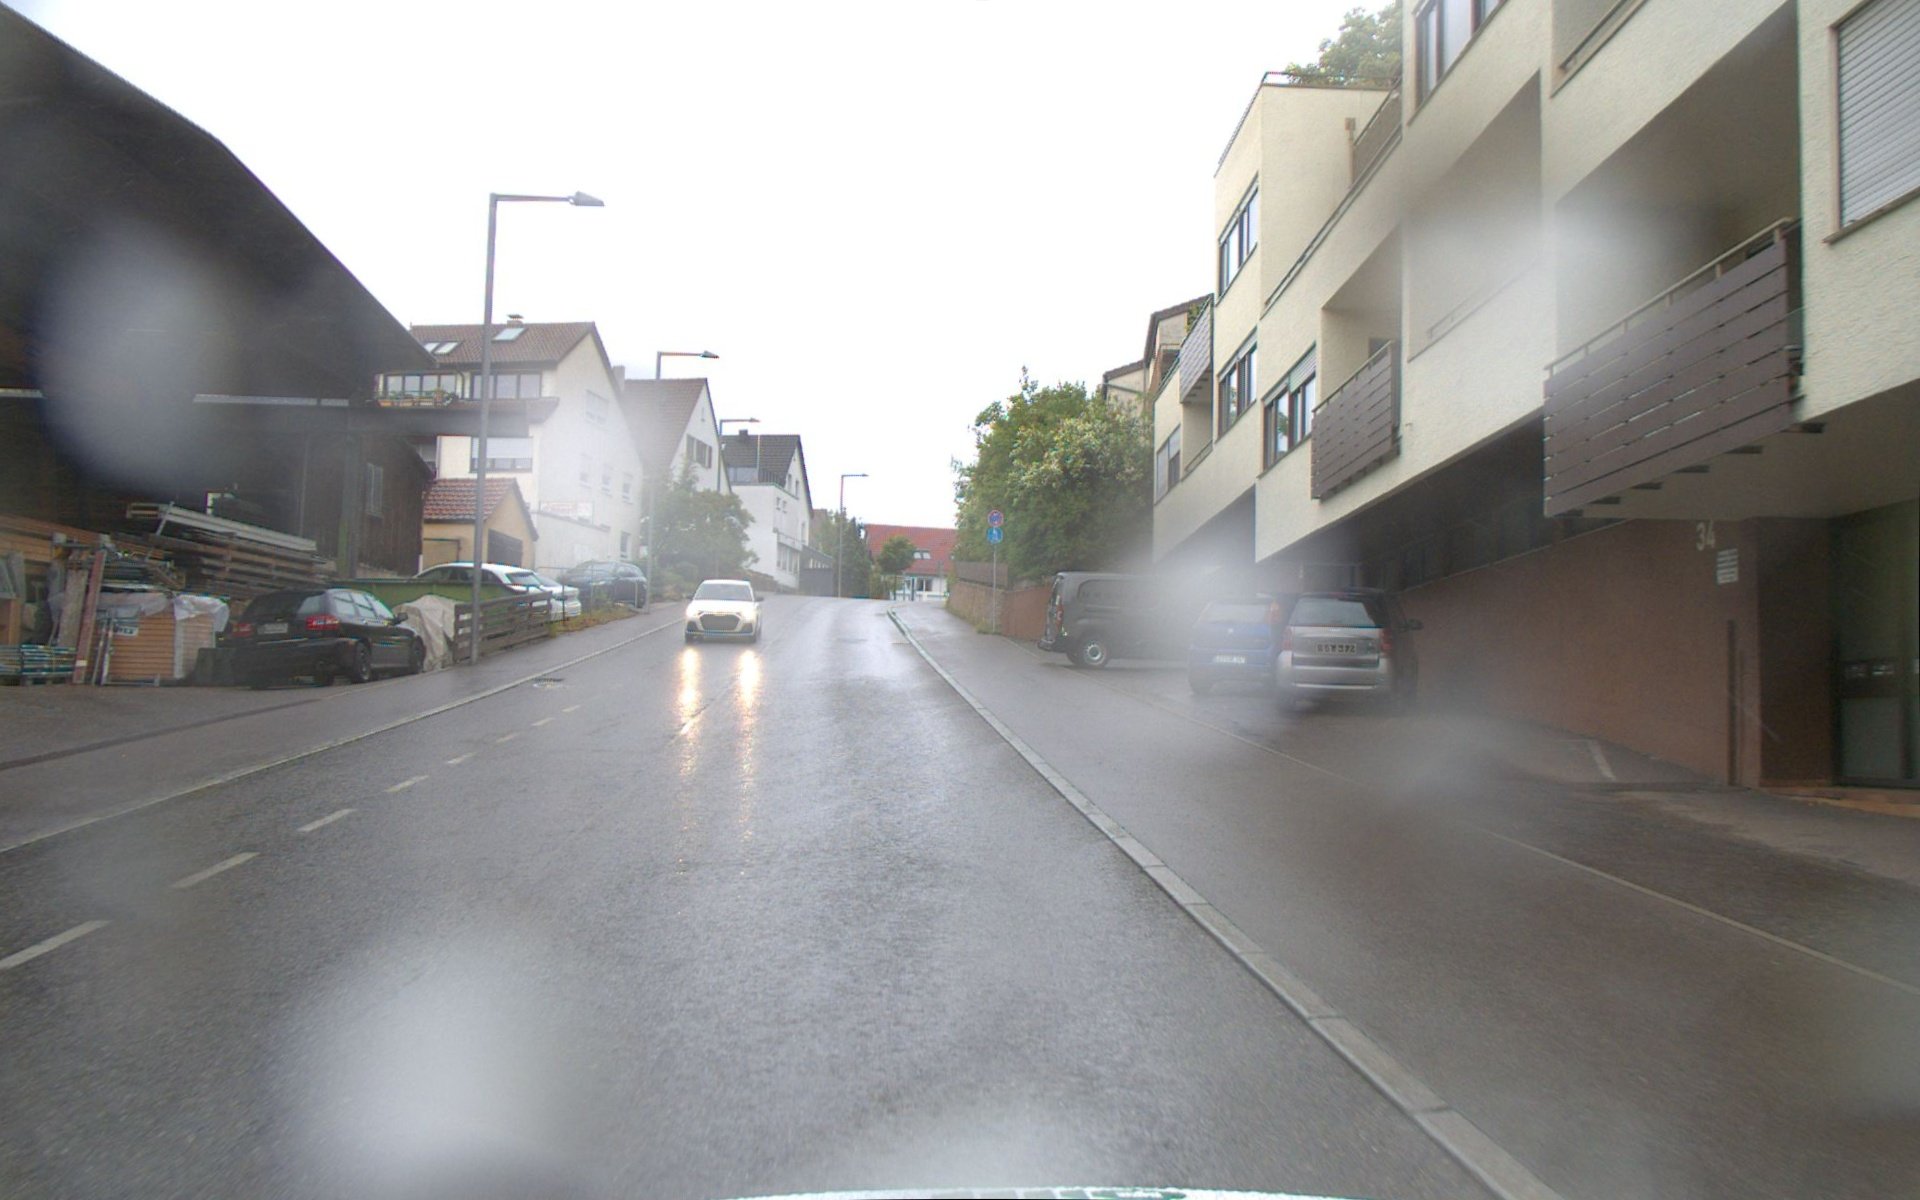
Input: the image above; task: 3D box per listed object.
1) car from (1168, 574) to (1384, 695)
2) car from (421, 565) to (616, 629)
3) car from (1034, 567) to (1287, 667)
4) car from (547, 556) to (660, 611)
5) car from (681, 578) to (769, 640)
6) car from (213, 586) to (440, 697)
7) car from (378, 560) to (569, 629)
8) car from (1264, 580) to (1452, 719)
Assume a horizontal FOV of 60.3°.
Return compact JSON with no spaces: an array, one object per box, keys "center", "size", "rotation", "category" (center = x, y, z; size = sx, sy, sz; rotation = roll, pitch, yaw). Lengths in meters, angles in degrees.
[{"center":[4.902,0.505,25.237],"size":[1.751,1.606,4.054],"rotation":[3,1,34],"category":"car"},{"center":[-11.251,-0.094,42.298],"size":[4.401,1.531,1.902],"rotation":[1,1,8],"category":"car"},{"center":[3.879,0.313,32.511],"size":[4.615,1.852,1.998],"rotation":[1,1,-5],"category":"car"},{"center":[-11.599,-0.570,54.137],"size":[1.932,1.688,4.967],"rotation":[1,1,9],"category":"car"},{"center":[-5.717,0.203,40.617],"size":[1.668,1.412,4.049],"rotation":[-1,0,-2],"category":"car"},{"center":[-9.489,0.560,25.180],"size":[1.856,1.466,4.444],"rotation":[-1,1,-2],"category":"car"},{"center":[-11.544,-0.140,39.383],"size":[3.902,1.531,1.902],"rotation":[1,1,8],"category":"car"},{"center":[5.447,0.606,22.256],"size":[1.746,1.606,4.065],"rotation":[3,1,23],"category":"car"}]
